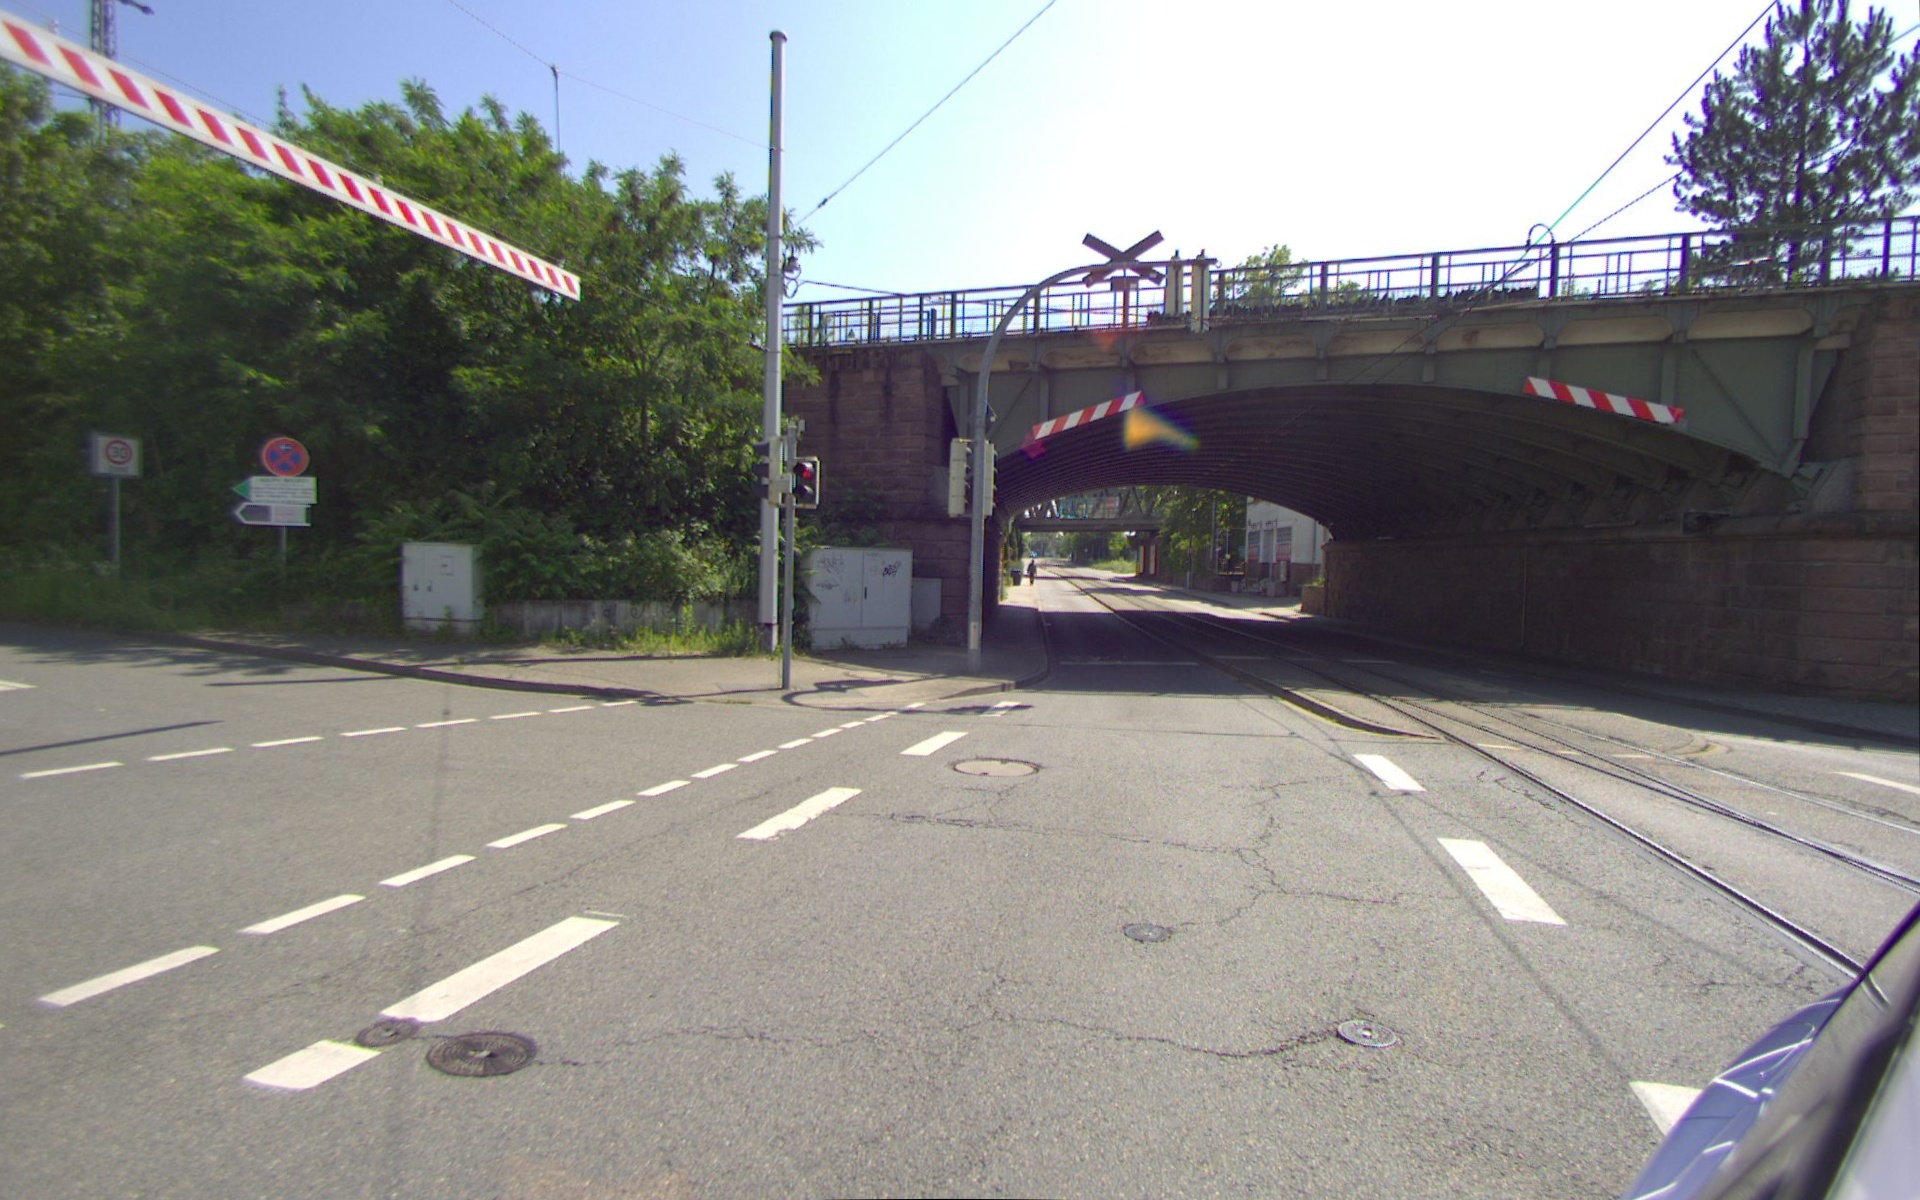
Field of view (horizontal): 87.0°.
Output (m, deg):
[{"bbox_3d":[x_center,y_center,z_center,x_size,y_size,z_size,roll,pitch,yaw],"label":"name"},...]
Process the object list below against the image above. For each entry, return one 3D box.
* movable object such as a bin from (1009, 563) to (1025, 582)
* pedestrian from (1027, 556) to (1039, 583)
[{"bbox_3d":[3.803,-1.838,67.673,1.021,1.177,0.974,2,2,2],"label":"movable object such as a bin"},{"bbox_3d":[5.067,-2.135,70.179,0.729,1.839,0.851,2,2,2],"label":"pedestrian"}]
